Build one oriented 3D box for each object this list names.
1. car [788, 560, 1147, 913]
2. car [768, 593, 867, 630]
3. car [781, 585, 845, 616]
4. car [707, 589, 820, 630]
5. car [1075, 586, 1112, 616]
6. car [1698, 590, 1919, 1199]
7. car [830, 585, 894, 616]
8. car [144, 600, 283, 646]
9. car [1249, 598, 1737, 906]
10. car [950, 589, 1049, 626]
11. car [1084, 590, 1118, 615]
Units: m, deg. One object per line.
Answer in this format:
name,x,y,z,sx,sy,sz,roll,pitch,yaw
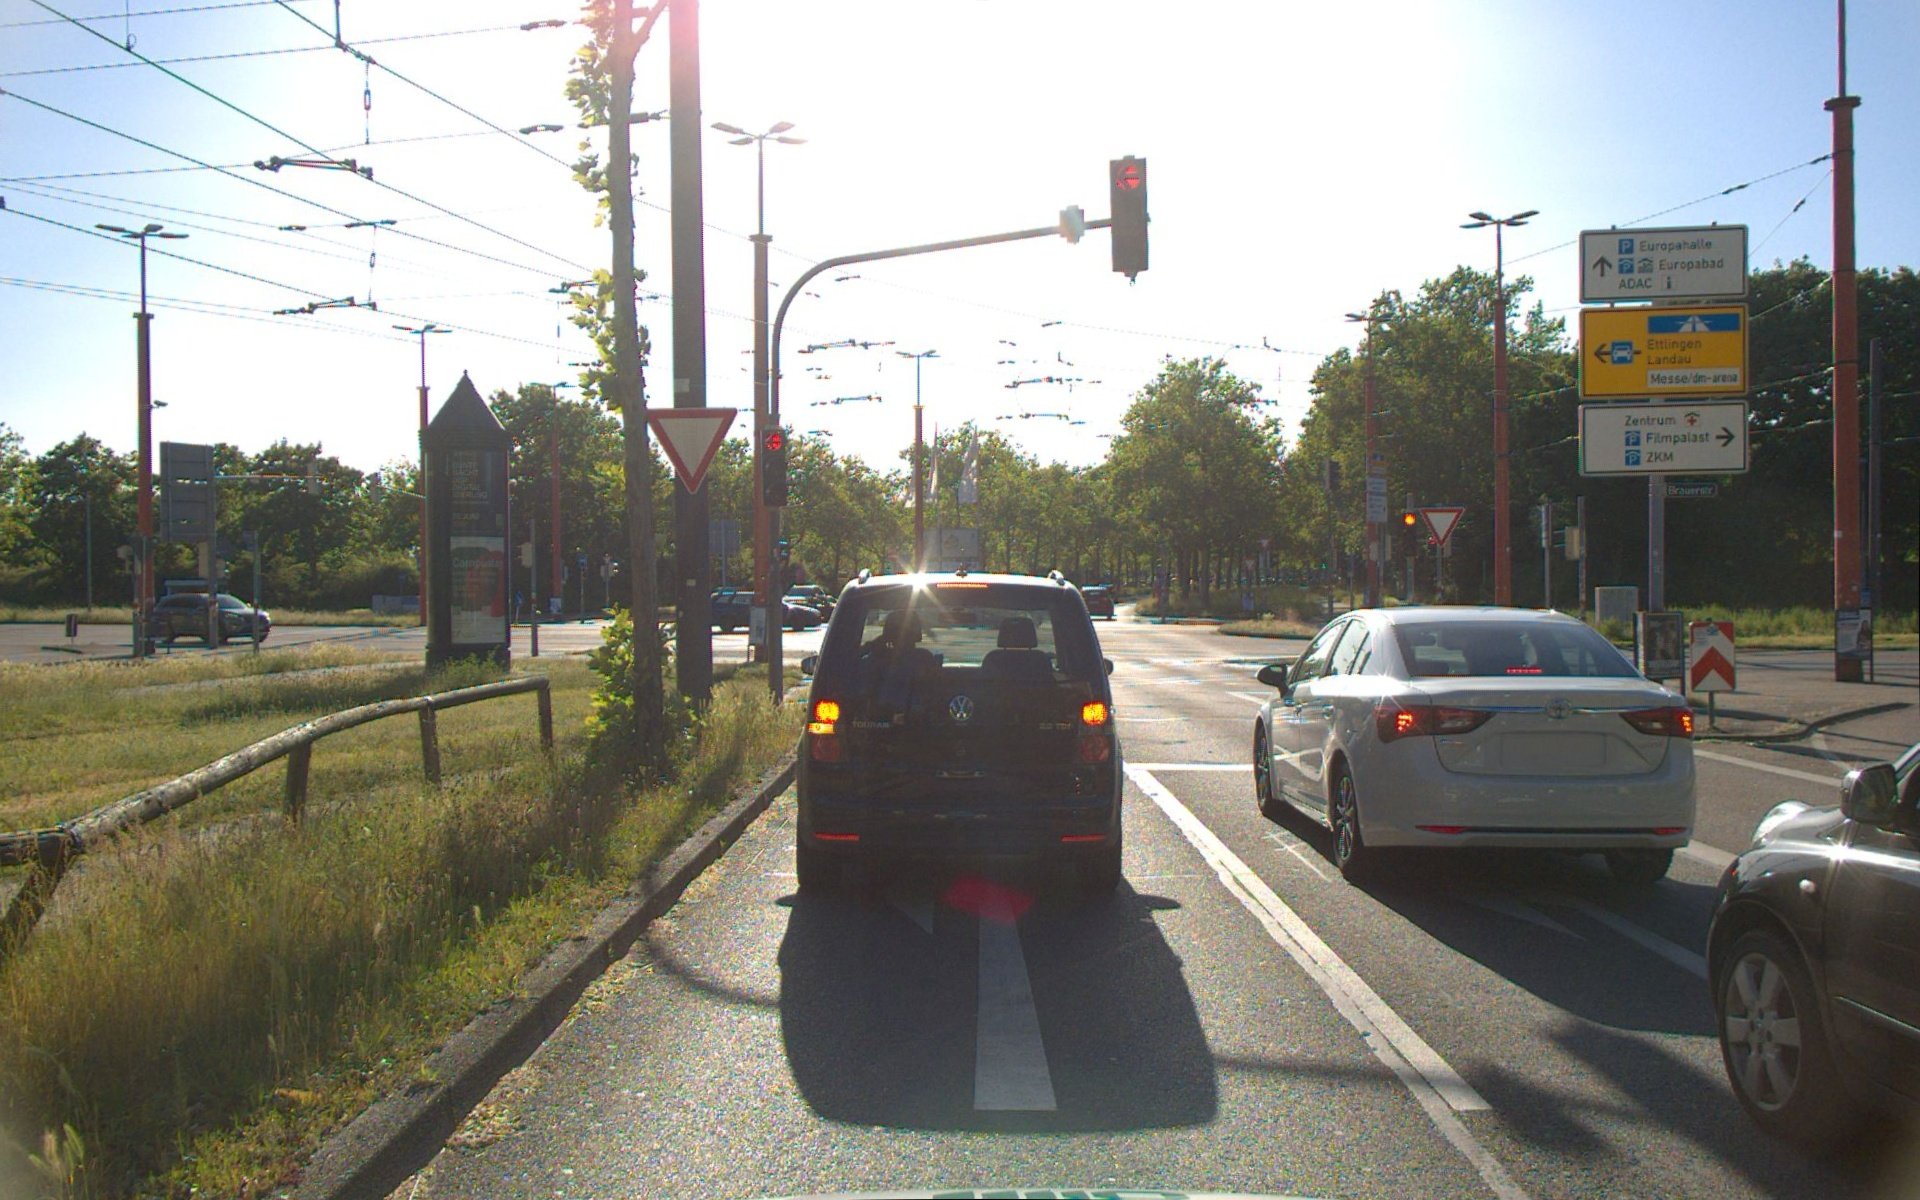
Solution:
car,0.010,0.640,9.859,1.702,1.670,3.999,0,0,-1
car,-5.909,0.471,68.771,3.960,1.489,1.914,0,0,-1
car,-8.242,0.018,93.152,1.951,1.714,4.831,0,0,17
car,-7.385,0.341,61.946,4.149,1.489,1.910,0,0,-10
car,6.901,0.038,85.354,1.868,1.489,4.377,0,1,5
car,3.131,0.739,3.504,1.525,1.532,3.515,0,0,-1
car,-5.388,0.024,91.617,1.951,1.714,4.831,0,0,17
car,-26.447,0.781,58.620,4.539,1.570,1.999,0,0,24
car,2.952,0.737,10.104,1.679,1.480,4.144,0,0,0
car,1.643,0.288,67.917,1.882,1.489,4.027,0,0,44
car,8.573,0.135,100.583,1.867,1.489,4.226,0,0,7
